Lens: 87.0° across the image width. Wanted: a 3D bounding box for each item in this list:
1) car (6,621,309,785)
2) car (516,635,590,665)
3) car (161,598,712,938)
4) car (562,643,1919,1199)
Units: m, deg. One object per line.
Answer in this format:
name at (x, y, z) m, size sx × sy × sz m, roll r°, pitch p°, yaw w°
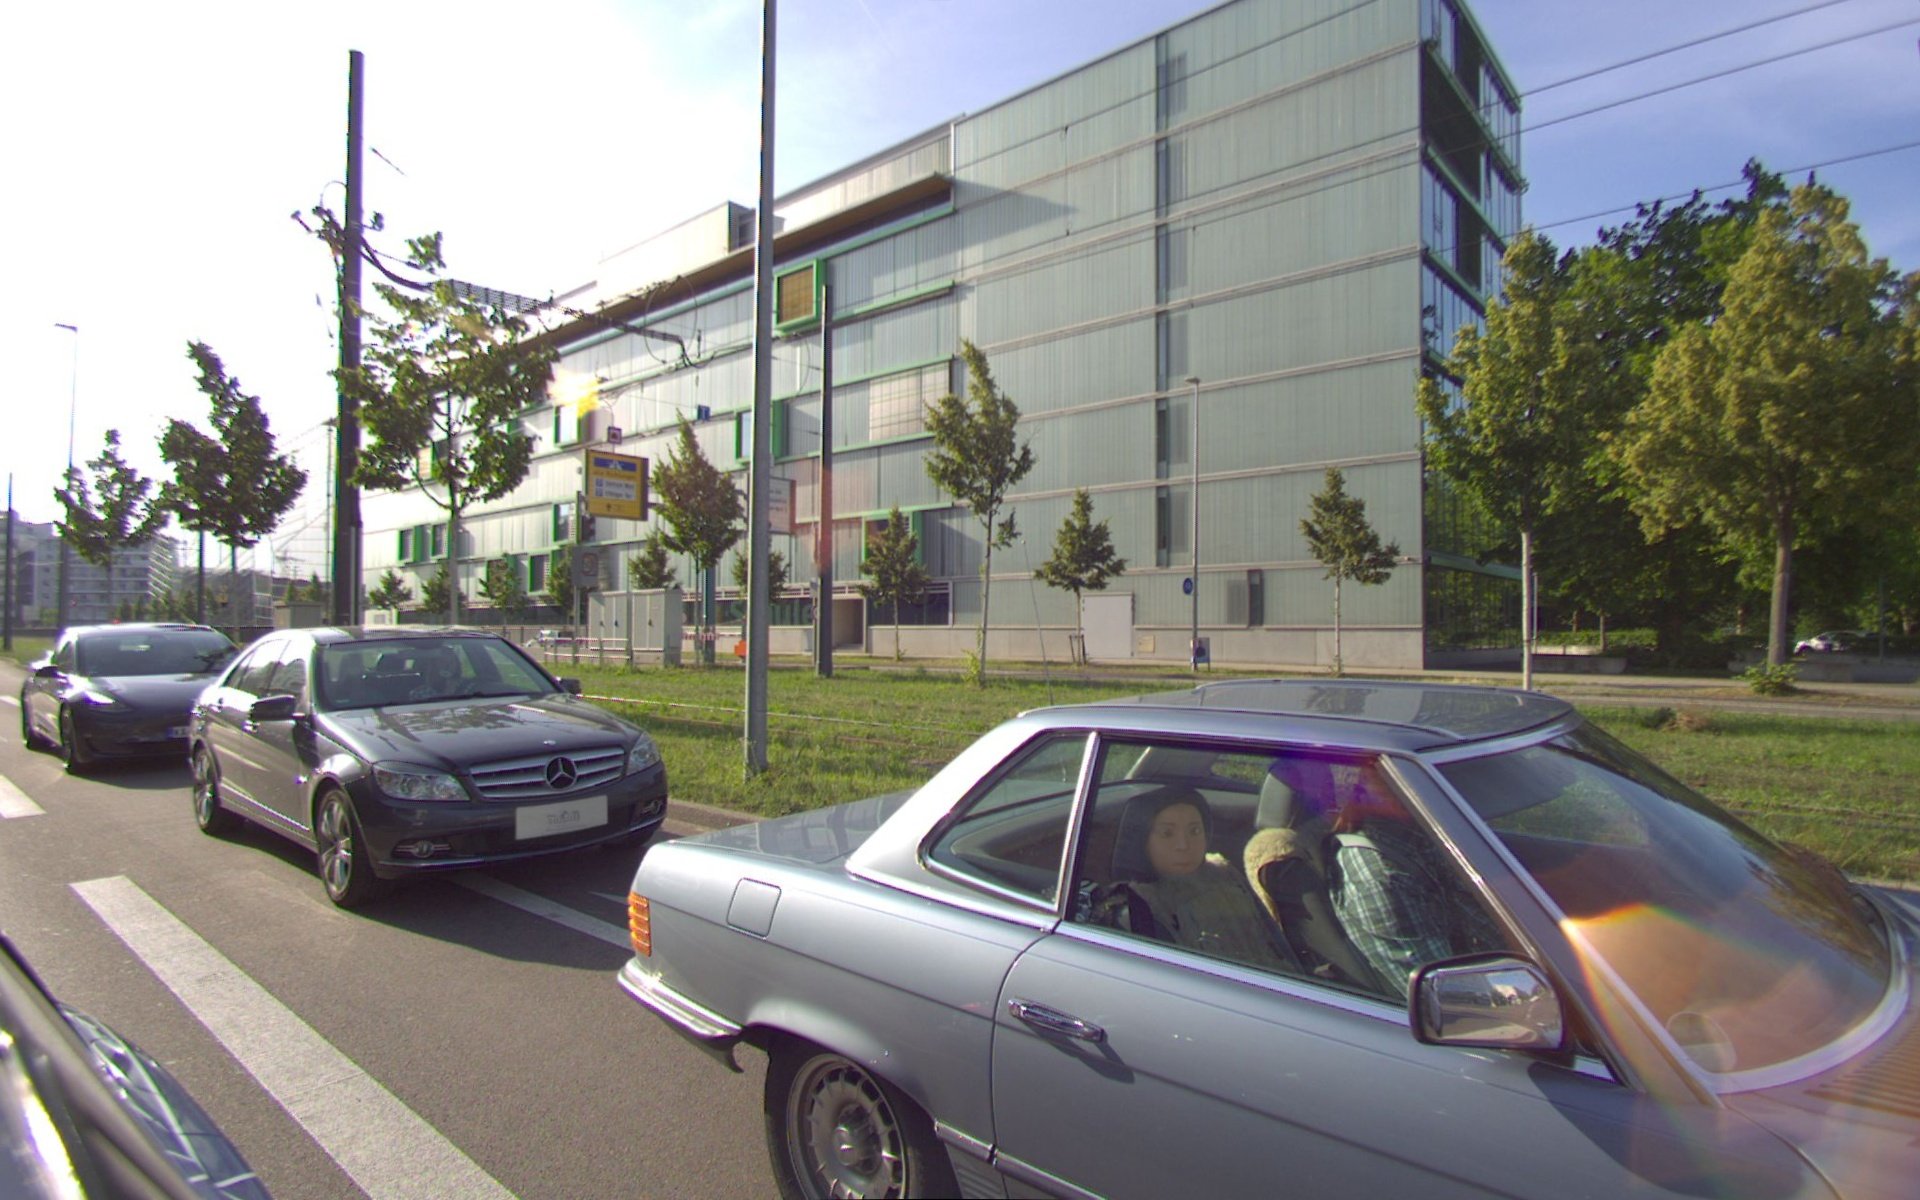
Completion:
car at (-8.906, 0.987, 11.092) m, size 4.332 × 1.396 × 1.870 m, roll -2°, pitch -1°, yaw 41°
car at (-21.691, 2.621, 53.857) m, size 4.219 × 1.539 × 1.858 m, roll -2°, pitch -3°, yaw 39°
car at (-3.635, 0.800, 6.603) m, size 4.352 × 1.490 × 1.767 m, roll -2°, pitch -1°, yaw 42°
car at (1.138, 0.785, 2.026) m, size 4.397 × 1.340 × 1.746 m, roll -2°, pitch -1°, yaw 40°
